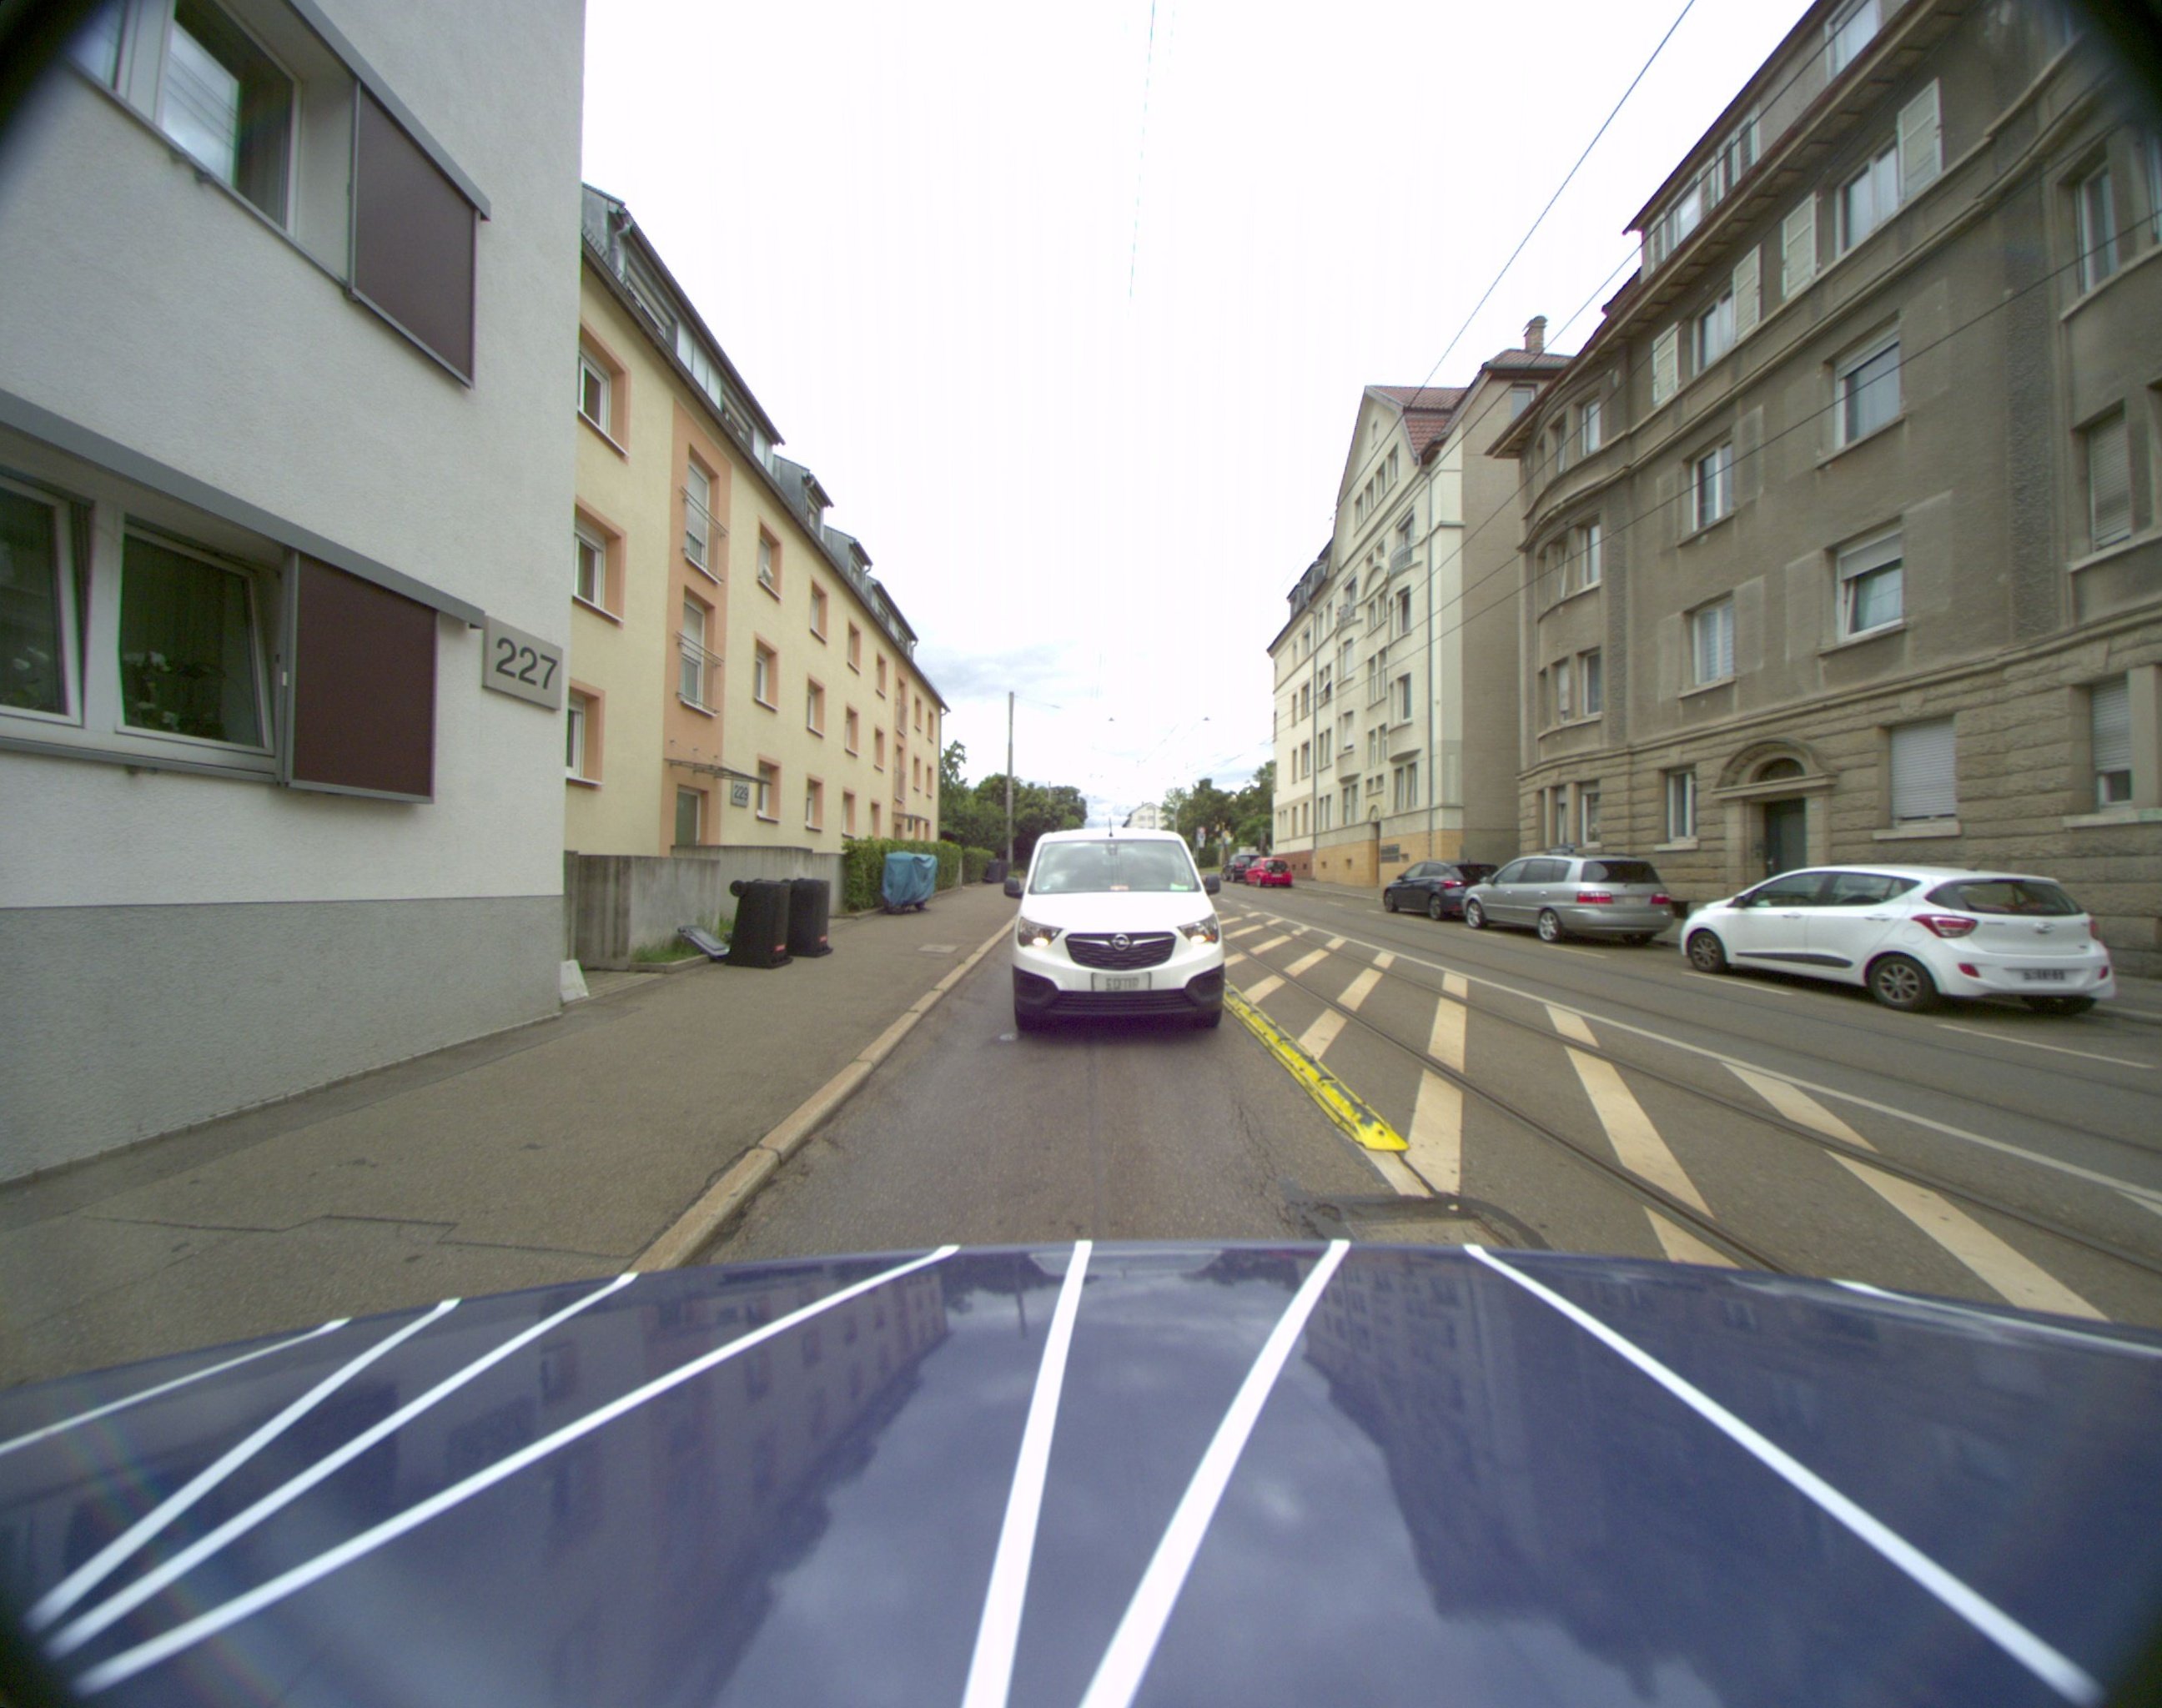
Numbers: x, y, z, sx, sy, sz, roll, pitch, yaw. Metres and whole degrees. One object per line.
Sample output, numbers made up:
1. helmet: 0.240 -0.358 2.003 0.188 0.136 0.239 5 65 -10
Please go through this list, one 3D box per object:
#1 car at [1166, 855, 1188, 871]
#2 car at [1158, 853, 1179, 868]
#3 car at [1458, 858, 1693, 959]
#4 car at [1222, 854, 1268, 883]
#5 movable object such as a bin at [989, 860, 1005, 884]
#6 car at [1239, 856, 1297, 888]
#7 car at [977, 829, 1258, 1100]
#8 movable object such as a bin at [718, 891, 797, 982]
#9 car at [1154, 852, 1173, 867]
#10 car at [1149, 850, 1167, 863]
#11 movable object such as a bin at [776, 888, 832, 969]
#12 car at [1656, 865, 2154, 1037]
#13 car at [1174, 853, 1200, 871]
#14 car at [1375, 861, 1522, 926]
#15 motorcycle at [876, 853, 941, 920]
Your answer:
1. car: 9.479 0.859 75.378 1.743 1.517 3.951 1 1 1
2. car: 9.386 0.656 81.584 1.743 1.517 3.951 1 1 -1
3. car: 9.075 0.896 14.432 1.743 1.558 4.142 -1 1 -1
4. car: 9.348 0.788 43.548 1.743 1.517 3.951 1 1 -1
5. movable object such as a bin: -3.788 0.796 34.318 0.669 1.053 0.539 -1 0 1
6. car: 9.412 0.852 38.588 1.744 1.450 3.950 1 1 -4
7. car: 0.284 0.745 7.588 1.888 1.828 4.676 -2 1 1
8. movable object such as a bin: -3.846 0.968 9.078 0.637 1.003 0.602 3 0 1
9. car: 9.380 0.601 86.632 1.743 1.517 3.951 1 1 -1
10. car: 9.413 0.282 92.766 1.743 1.517 3.951 1 1 -1
11. movable object such as a bin: -3.659 0.975 10.079 0.565 1.003 0.498 3 0 -8
12. car: 9.068 0.931 8.942 1.743 1.502 3.800 0 1 1
13. car: 9.585 0.743 68.997 1.743 1.517 3.951 1 1 -1
14. car: 9.141 0.926 19.286 1.743 1.373 4.044 -1 1 -1
15. motorcycle: -3.846 0.698 17.123 0.731 1.382 1.937 4 0 7
